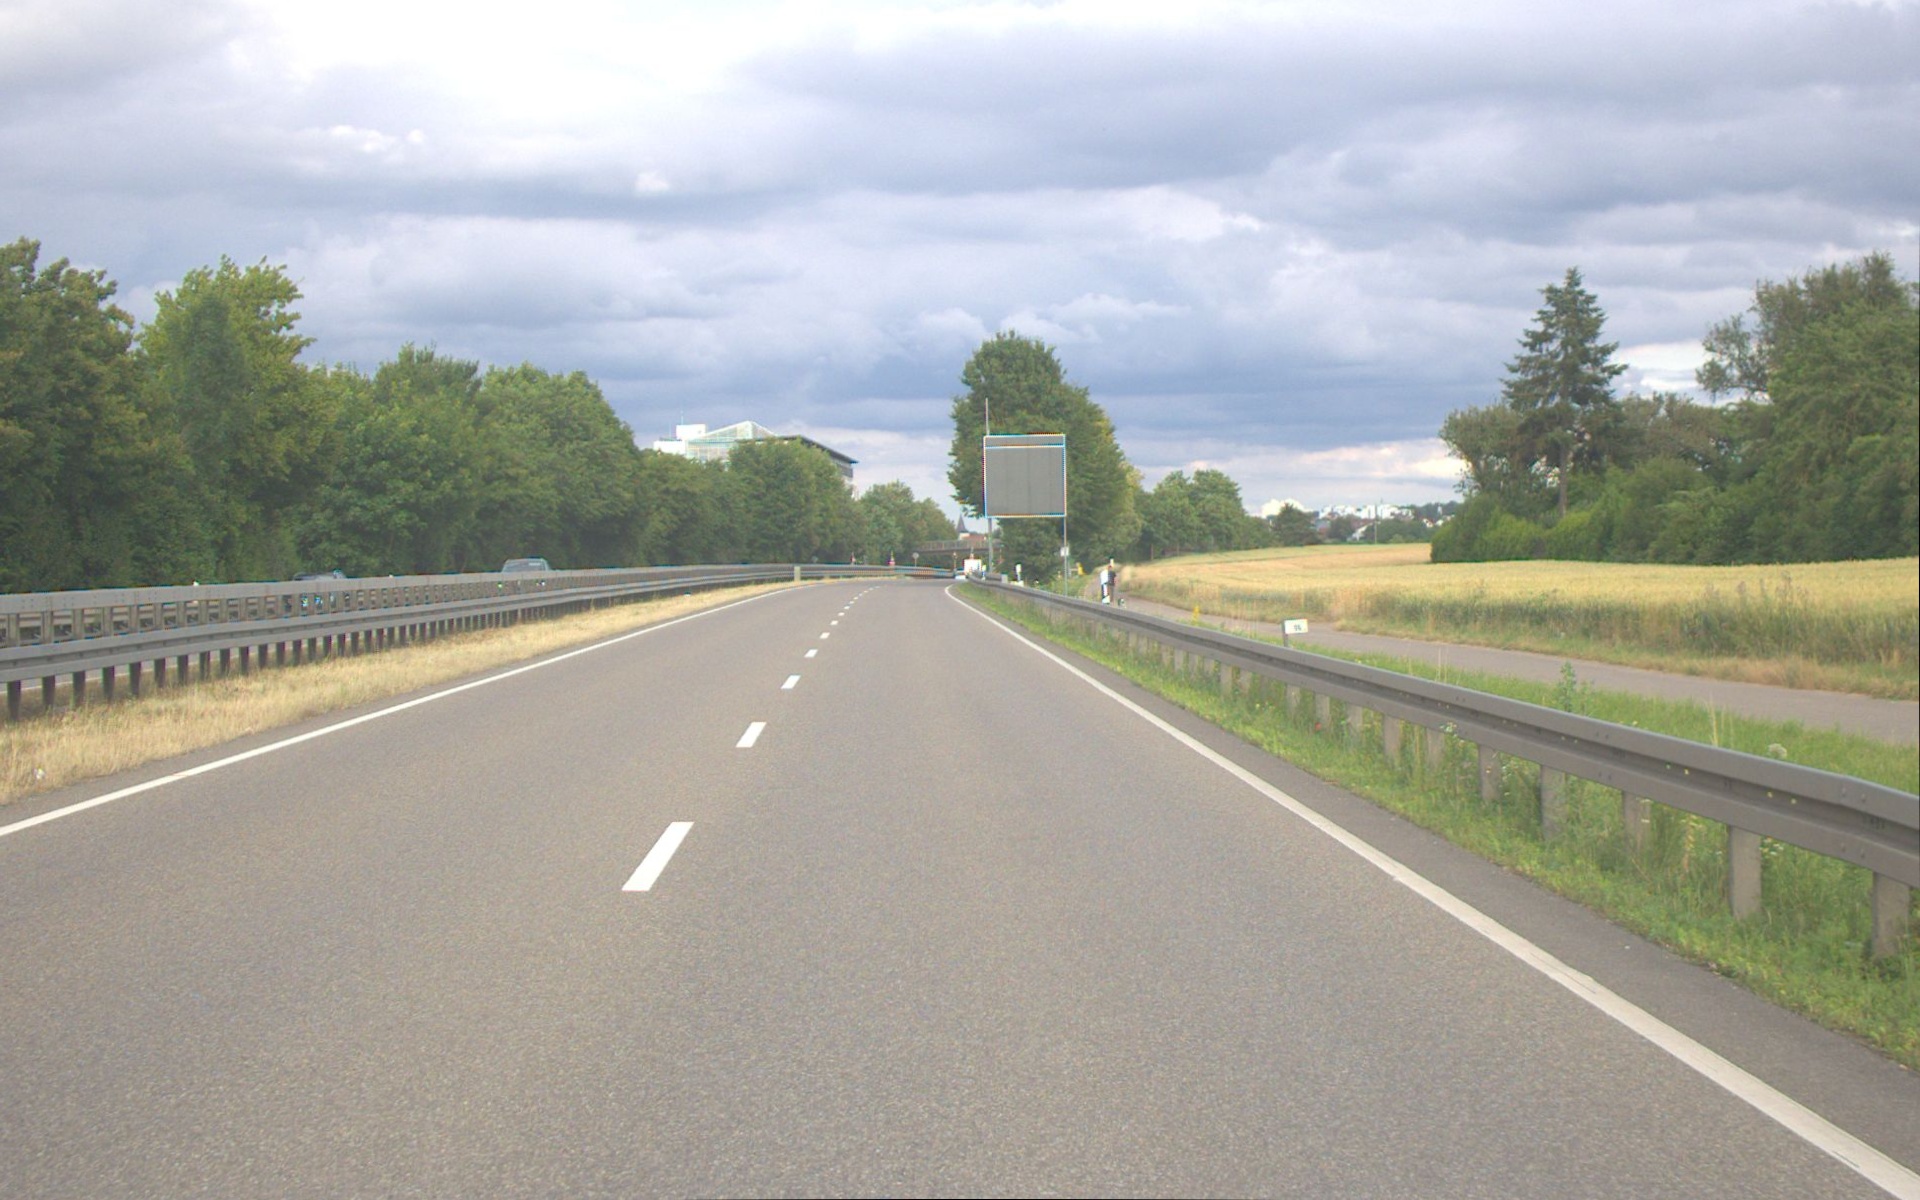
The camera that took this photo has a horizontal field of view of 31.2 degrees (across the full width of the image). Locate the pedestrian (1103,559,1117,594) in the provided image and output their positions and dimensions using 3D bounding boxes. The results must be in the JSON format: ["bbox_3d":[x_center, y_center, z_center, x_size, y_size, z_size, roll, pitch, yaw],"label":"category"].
[{"bbox_3d":[7.253,-1.137,166.511,0.601,1.660,0.543,1,0,-3],"label":"pedestrian"}]

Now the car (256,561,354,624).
[{"bbox_3d":[-18.235,-0.224,95.856,1.797,1.620,4.483,-2,1,0],"label":"car"}]
